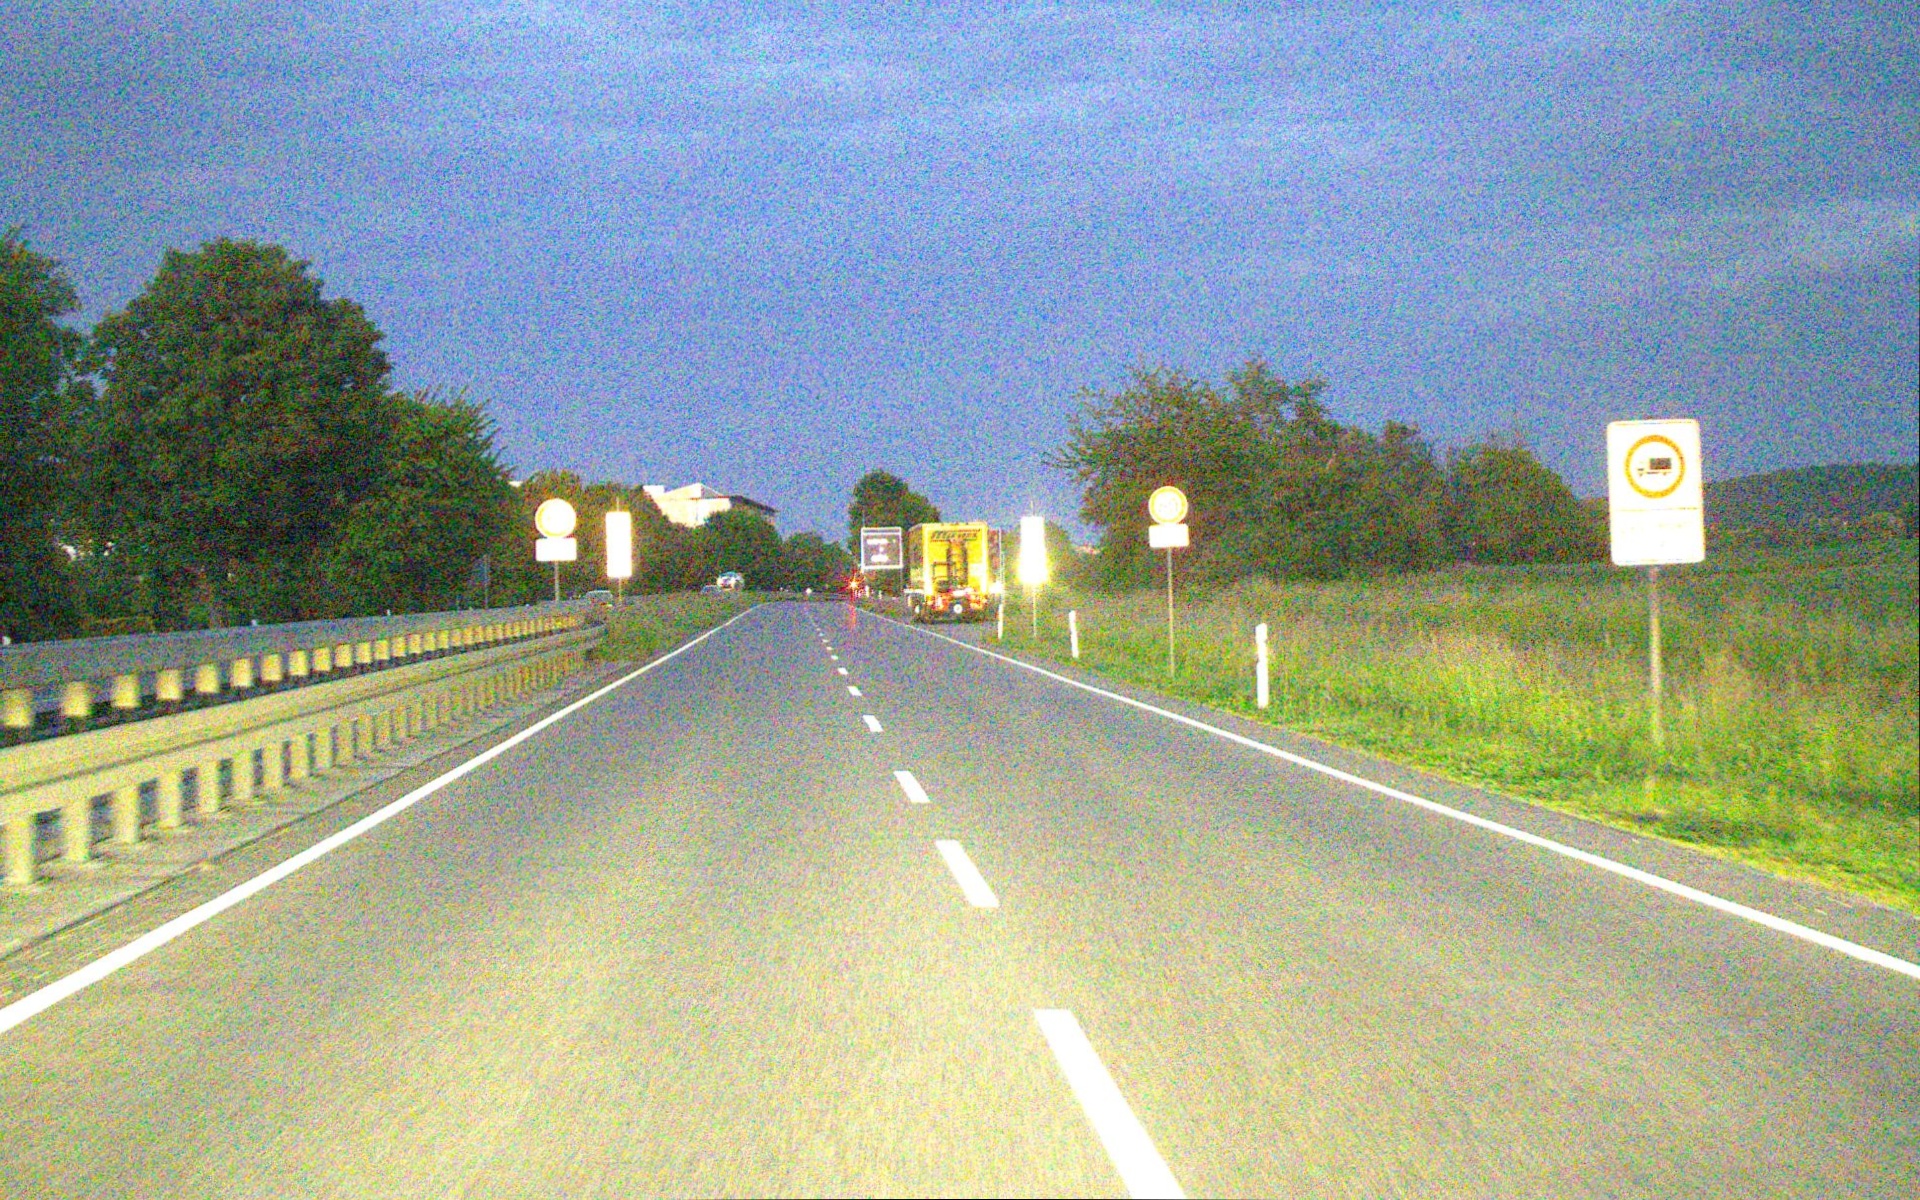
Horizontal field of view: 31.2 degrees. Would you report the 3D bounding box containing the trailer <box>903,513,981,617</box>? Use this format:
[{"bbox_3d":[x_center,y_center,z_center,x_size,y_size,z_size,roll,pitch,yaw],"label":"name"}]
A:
[{"bbox_3d":[-0.820,-1.446,142.908,2.622,4.090,12.938,-1,0,-3],"label":"trailer"}]

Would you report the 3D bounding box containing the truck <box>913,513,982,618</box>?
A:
[{"bbox_3d":[-0.531,-1.399,136.835,2.579,4.057,6.130,0,1,-2],"label":"truck"}]
